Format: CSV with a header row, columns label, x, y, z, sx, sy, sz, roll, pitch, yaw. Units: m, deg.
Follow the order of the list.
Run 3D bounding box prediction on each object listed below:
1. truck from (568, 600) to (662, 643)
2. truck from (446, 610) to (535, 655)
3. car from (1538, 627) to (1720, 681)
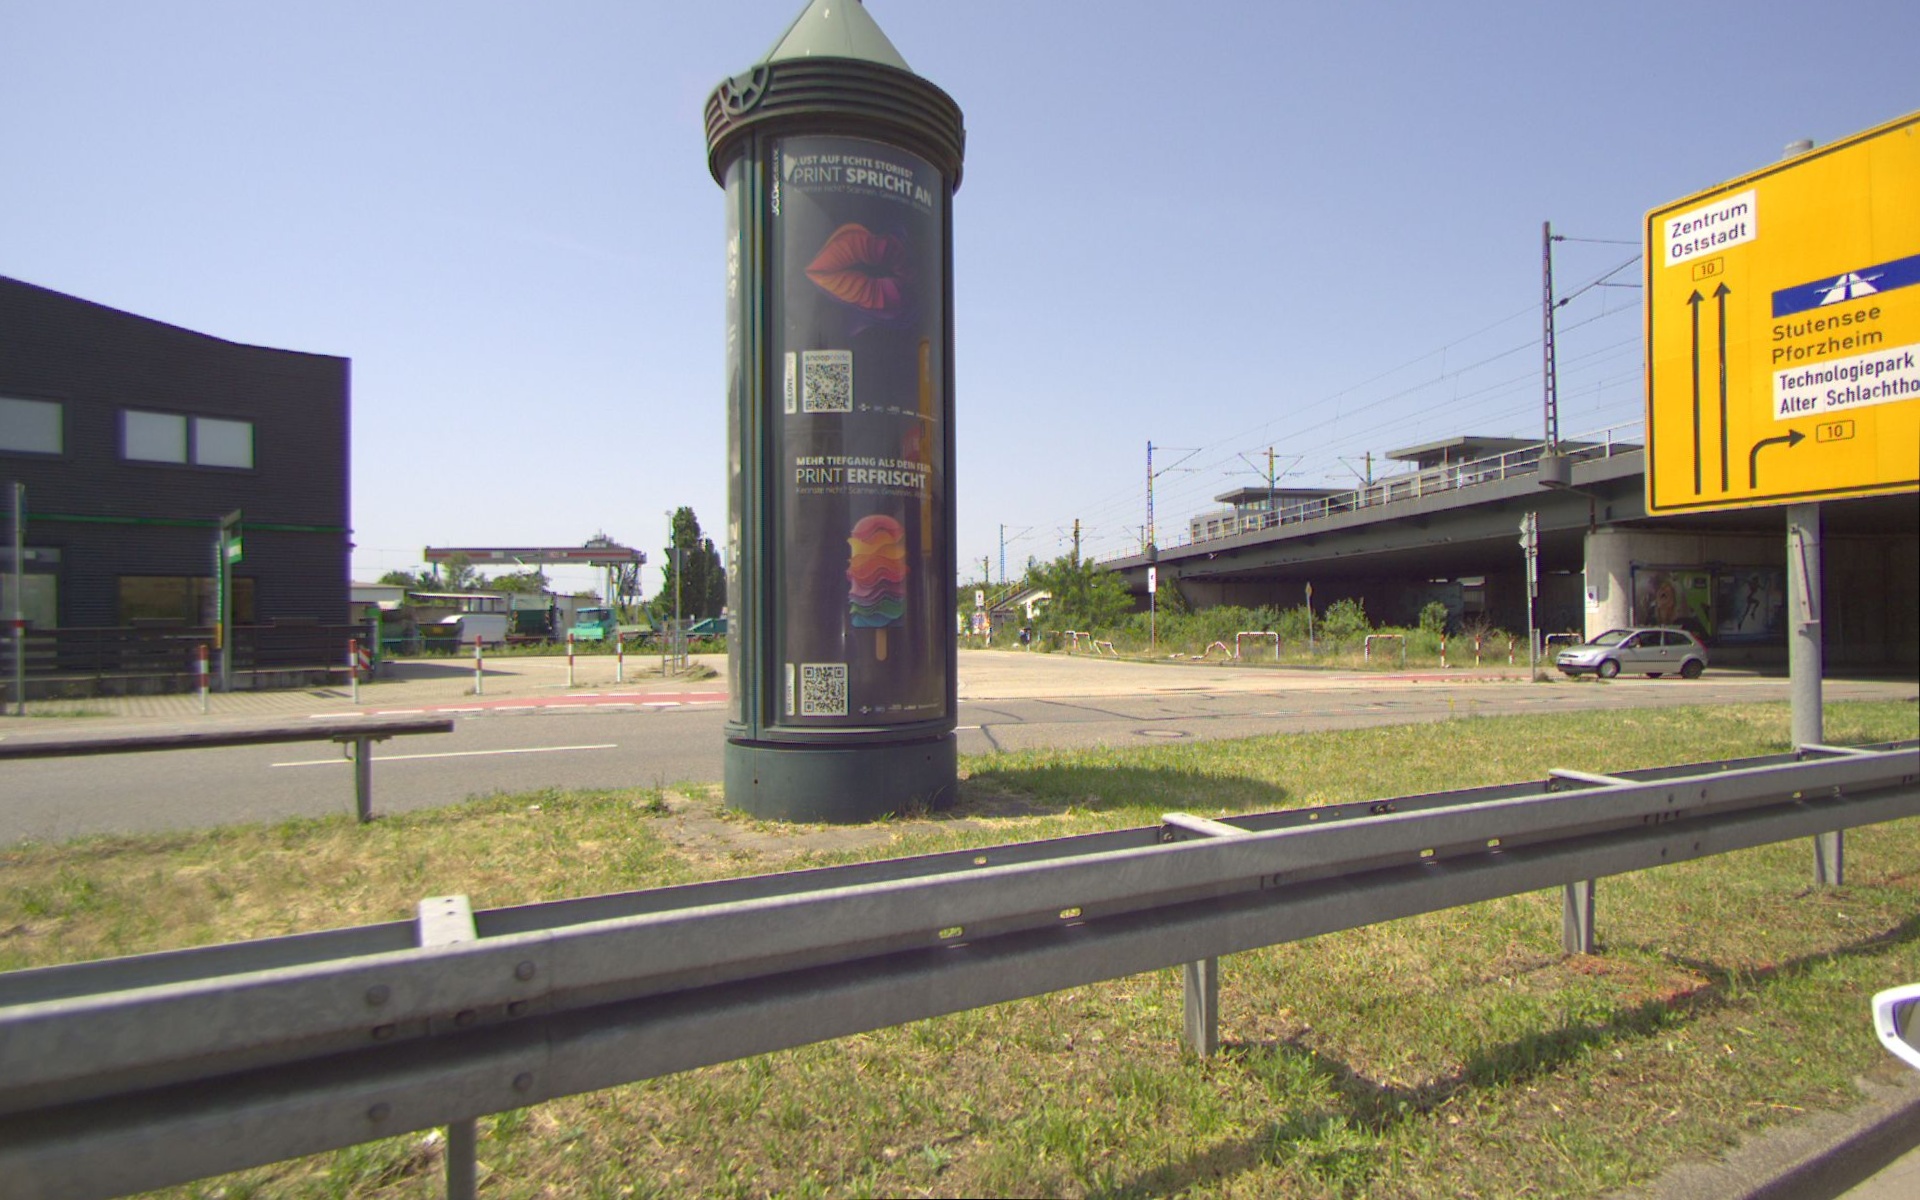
label,x,y,z,sx,sy,sz,roll,pitch,yaw
truck,-26.189,1.695,76.671,2.809,2.966,6.852,-2,-4,25
truck,-32.713,2.362,70.224,1.965,2.997,5.451,-2,-4,31
car,19.264,1.561,29.063,3.922,1.460,2.000,1,-3,-1
